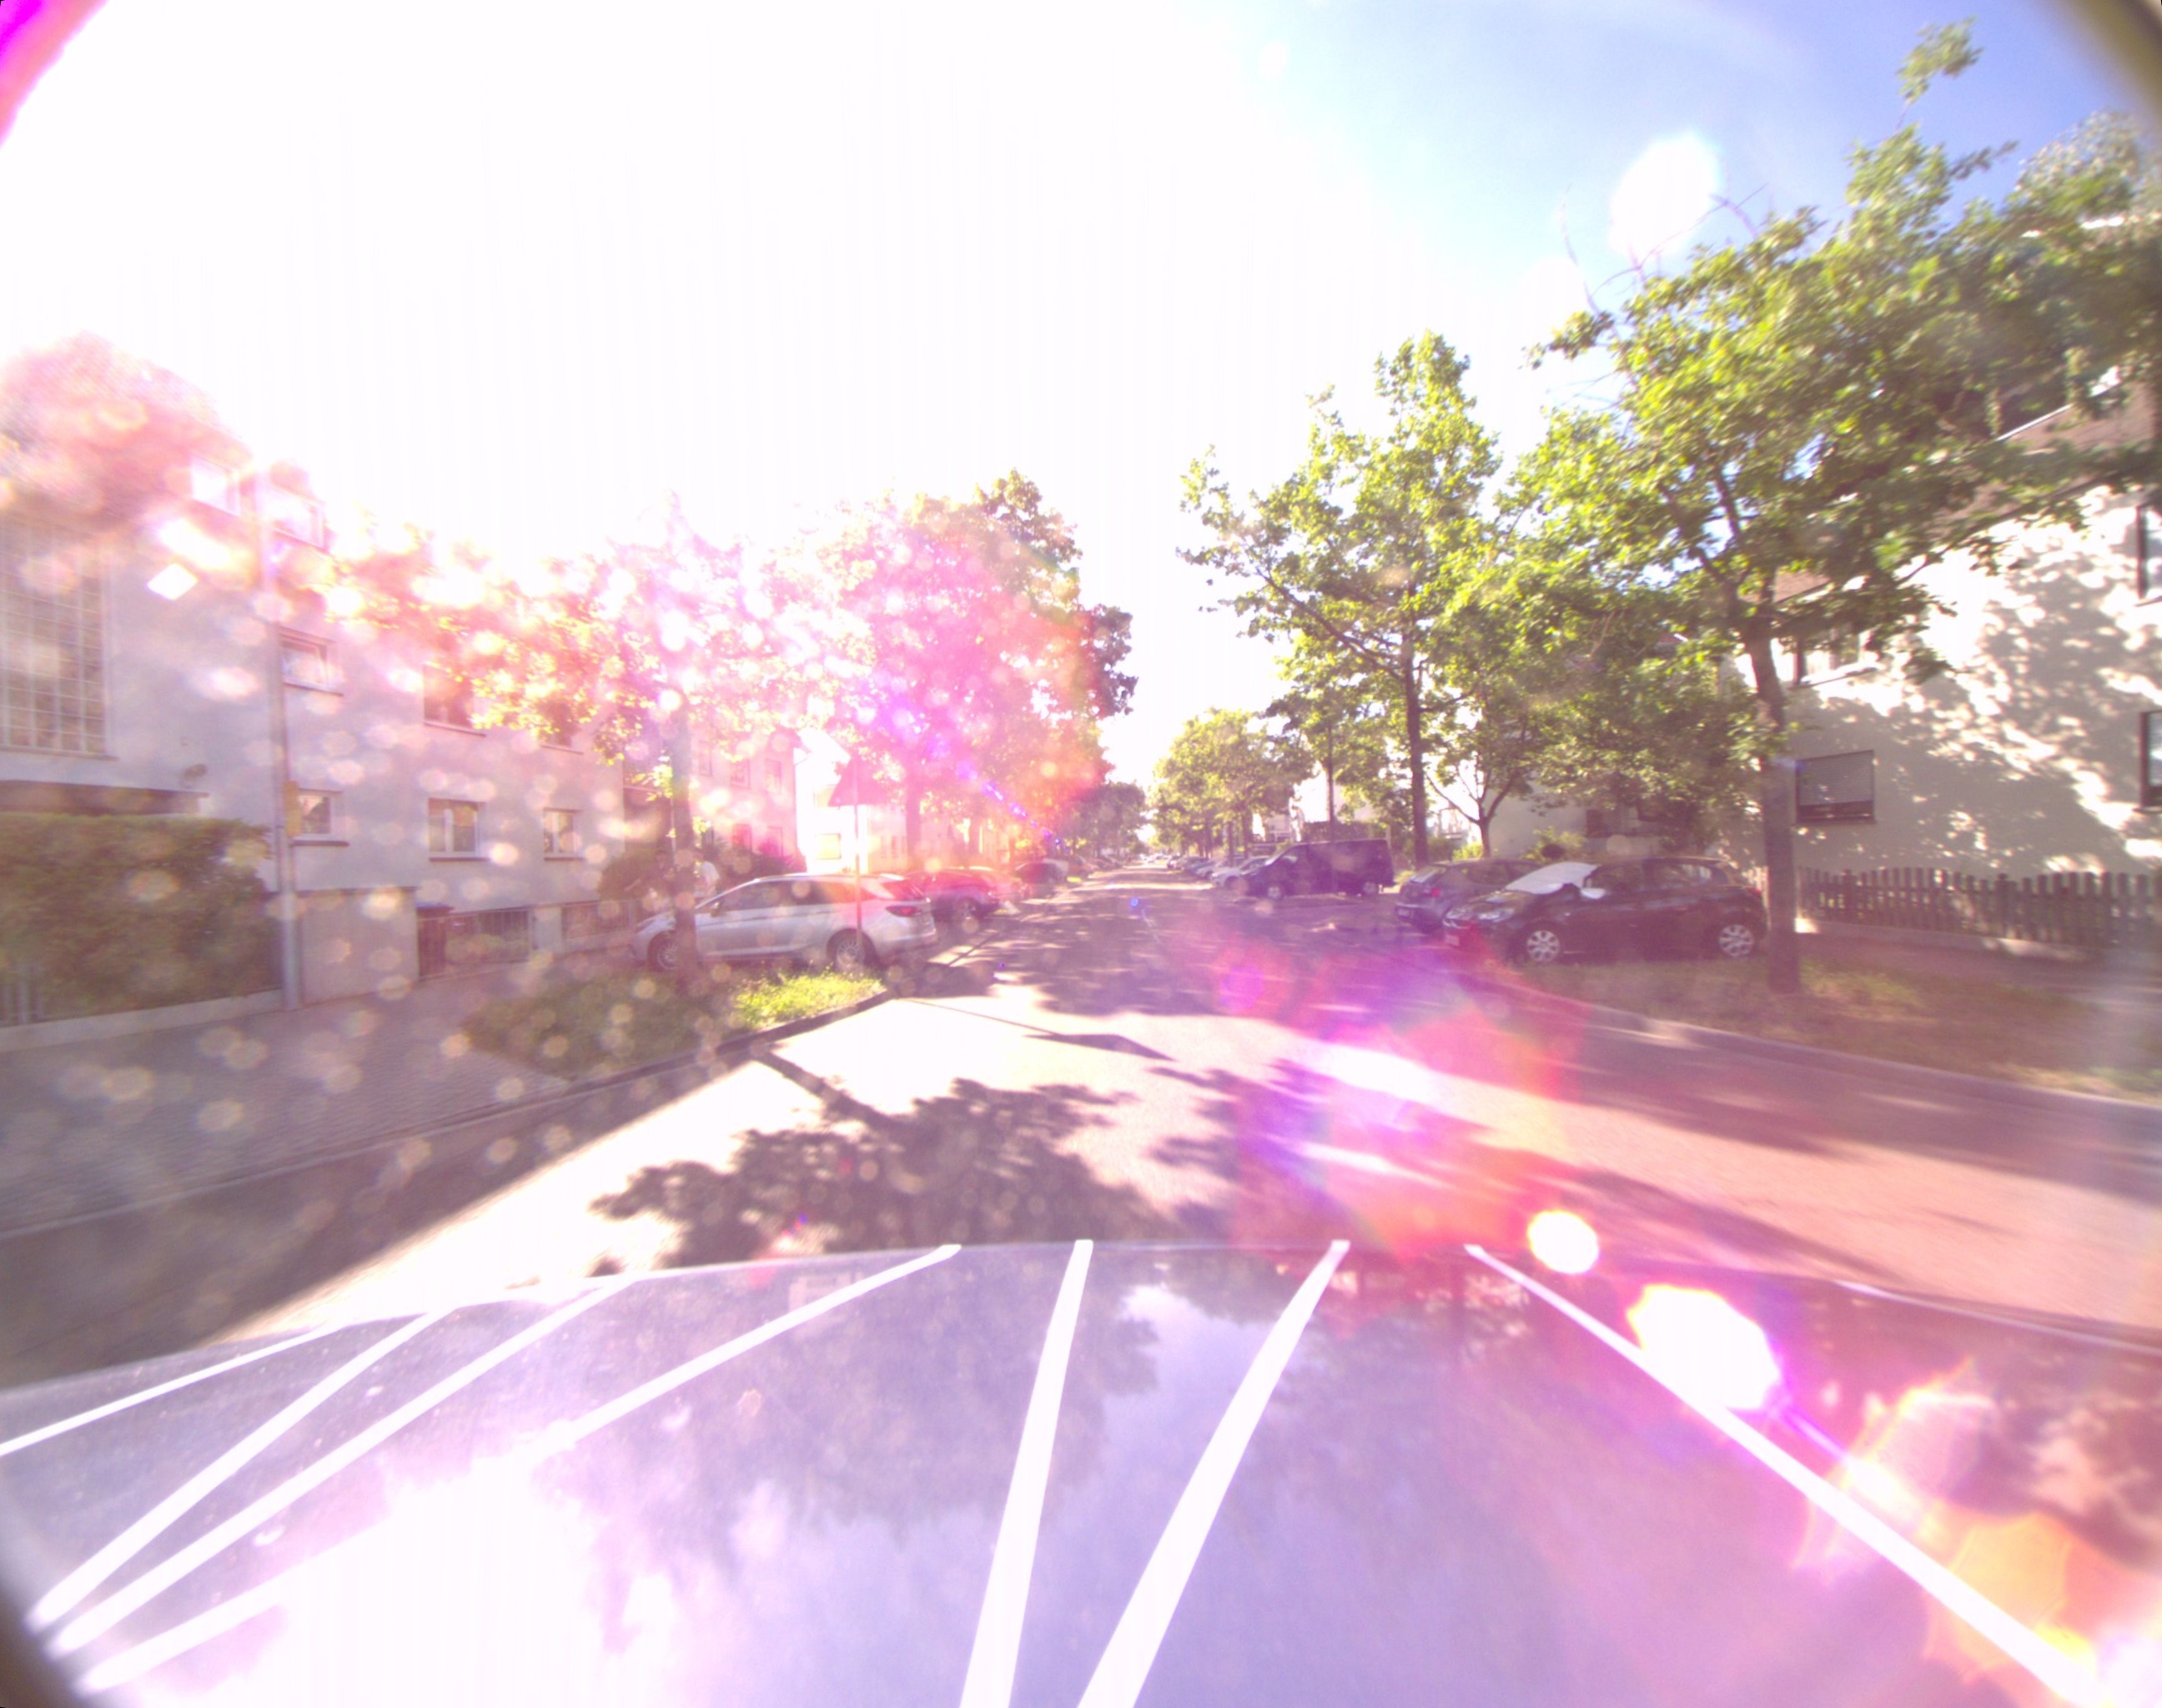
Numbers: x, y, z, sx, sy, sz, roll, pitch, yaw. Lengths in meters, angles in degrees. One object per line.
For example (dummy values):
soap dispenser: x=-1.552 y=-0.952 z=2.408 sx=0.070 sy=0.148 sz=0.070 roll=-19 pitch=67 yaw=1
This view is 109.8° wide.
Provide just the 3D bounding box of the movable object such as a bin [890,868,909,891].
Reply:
movable object such as a bin: x=-9.116 y=1.269 z=38.209 sx=0.704 sy=1.105 sz=0.906 roll=-1 pitch=1 yaw=3

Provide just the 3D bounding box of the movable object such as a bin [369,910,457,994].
movable object such as a bin: x=-9.058 y=1.312 z=10.329 sx=0.535 sy=1.039 sz=0.700 roll=-1 pitch=1 yaw=2

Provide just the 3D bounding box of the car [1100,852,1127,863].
car: x=5.279 y=0.544 z=122.382 sx=4.220 sy=1.771 sz=1.790 roll=0 pitch=1 yaw=7

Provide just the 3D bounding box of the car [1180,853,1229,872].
car: x=10.950 y=0.708 z=67.313 sx=4.043 sy=1.415 sz=1.810 roll=-4 pitch=0 yaw=3

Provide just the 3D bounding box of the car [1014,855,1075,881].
car: x=-2.460 y=0.964 z=52.147 sx=3.997 sy=1.614 sz=1.757 roll=-1 pitch=1 yaw=1

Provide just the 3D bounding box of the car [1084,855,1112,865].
car: x=2.441 y=0.863 z=109.560 sx=3.784 sy=1.476 sz=1.756 roll=0 pitch=2 yaw=7

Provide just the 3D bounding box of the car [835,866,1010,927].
car: x=-4.212 y=1.124 z=20.623 sx=4.286 sy=1.494 sz=1.797 roll=-1 pitch=0 yaw=4

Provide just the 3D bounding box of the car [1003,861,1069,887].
car: x=-2.752 y=1.223 z=47.018 sx=3.890 sy=1.507 sz=1.661 roll=-1 pitch=1 yaw=5

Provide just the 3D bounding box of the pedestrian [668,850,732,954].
pedestrian: x=-7.107 y=0.874 z=14.209 sx=0.609 sy=1.862 sz=0.924 roll=-1 pitch=1 yaw=6

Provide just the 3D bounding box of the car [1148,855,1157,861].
car: x=17.762 y=1.022 z=187.495 sx=1.943 sy=1.412 sz=4.003 roll=-1 pitch=0 yaw=9

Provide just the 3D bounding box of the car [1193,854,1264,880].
car: x=9.327 y=0.803 z=48.202 sx=4.191 sy=1.483 sz=1.647 roll=-2 pitch=0 yaw=4

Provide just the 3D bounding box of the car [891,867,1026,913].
car: x=-4.051 y=1.194 z=25.679 sx=4.288 sy=1.406 sz=1.796 roll=-1 pitch=0 yaw=-2

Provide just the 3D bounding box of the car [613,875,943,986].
car: x=-4.556 y=1.138 z=11.935 sx=4.440 sy=1.483 sz=1.796 roll=-1 pitch=0 yaw=-1

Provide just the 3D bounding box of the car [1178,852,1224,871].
car: x=11.443 y=0.683 z=72.575 sx=4.196 sy=1.558 sz=1.793 roll=-3 pitch=0 yaw=6

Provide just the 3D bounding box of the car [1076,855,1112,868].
car: x=1.692 y=0.932 z=97.463 sx=4.583 sy=1.637 sz=1.839 roll=0 pitch=0 yaw=5

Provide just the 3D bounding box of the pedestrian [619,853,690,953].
pedestrian: x=-8.042 y=0.901 z=14.354 sx=0.837 sy=1.817 sz=0.710 roll=-1 pitch=2 yaw=4

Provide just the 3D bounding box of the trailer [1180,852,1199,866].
trailer: x=12.904 y=0.609 z=90.373 sx=2.240 sy=1.664 sz=1.475 roll=-2 pitch=0 yaw=9

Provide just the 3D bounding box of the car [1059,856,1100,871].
car: x=-0.139 y=1.029 z=82.426 sx=4.347 sy=1.551 sz=1.868 roll=0 pitch=0 yaw=4

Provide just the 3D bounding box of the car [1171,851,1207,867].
car: x=13.530 y=0.651 z=95.495 sx=4.246 sy=1.933 sz=2.000 roll=-1 pitch=0 yaw=3

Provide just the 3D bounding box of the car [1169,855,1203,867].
car: x=14.542 y=0.995 z=105.411 sx=4.487 sy=1.491 sz=1.837 roll=-1 pitch=0 yaw=3

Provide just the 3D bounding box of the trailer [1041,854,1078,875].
trailer: x=-1.703 y=0.862 z=61.796 sx=2.953 sy=1.654 sz=1.614 roll=0 pitch=1 yaw=-1

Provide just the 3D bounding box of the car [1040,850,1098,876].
car: x=-1.037 y=0.780 z=66.404 sx=4.829 sy=2.071 sz=2.087 roll=-1 pitch=0 yaw=5

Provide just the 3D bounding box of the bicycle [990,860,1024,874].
bicycle: x=-6.540 y=1.146 z=67.147 sx=2.864 sy=1.230 sz=0.468 roll=0 pitch=1 yaw=5

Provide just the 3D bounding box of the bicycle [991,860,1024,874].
bicycle: x=-6.540 y=1.144 z=67.645 sx=2.864 sy=1.230 sz=0.468 roll=0 pitch=2 yaw=5

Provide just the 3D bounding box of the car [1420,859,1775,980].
car: x=7.220 y=0.884 z=10.963 sx=3.866 sy=1.450 sz=1.714 roll=-3 pitch=0 yaw=4

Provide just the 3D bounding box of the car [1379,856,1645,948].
car: x=7.770 y=0.837 z=13.979 sx=3.828 sy=1.411 sz=1.772 roll=-3 pitch=0 yaw=2

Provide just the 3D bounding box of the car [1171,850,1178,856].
car: x=26.779 y=-0.346 z=216.787 sx=1.740 sy=1.532 sz=3.950 roll=-1 pitch=0 yaw=11

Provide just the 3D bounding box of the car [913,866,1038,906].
car: x=-3.906 y=1.175 z=28.631 sx=4.355 sy=1.355 sz=1.874 roll=-1 pitch=1 yaw=4

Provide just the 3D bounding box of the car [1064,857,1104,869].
car: x=0.384 y=1.064 z=87.803 sx=4.436 sy=1.323 sz=1.691 roll=0 pitch=0 yaw=7

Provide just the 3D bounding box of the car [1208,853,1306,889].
car: x=8.332 y=0.793 z=36.267 sx=4.285 sy=1.469 sz=1.769 roll=-3 pitch=0 yaw=4

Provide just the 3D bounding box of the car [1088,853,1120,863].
car: x=3.472 y=0.646 z=114.271 sx=4.511 sy=1.437 sz=1.839 roll=0 pitch=0 yaw=7

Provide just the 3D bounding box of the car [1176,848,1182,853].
car: x=31.145 y=-1.195 z=240.943 sx=1.877 sy=1.470 sz=3.852 roll=-1 pitch=1 yaw=9

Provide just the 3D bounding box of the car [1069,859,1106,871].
car: x=0.823 y=1.378 z=94.003 sx=4.329 sy=1.521 sz=1.841 roll=0 pitch=0 yaw=5

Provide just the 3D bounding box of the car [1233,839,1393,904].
car: x=7.771 y=0.590 z=25.864 sx=4.790 sy=1.905 sz=2.019 roll=-3 pitch=0 yaw=2

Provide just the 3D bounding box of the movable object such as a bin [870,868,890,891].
movable object such as a bin: x=-10.098 y=1.266 z=38.179 sx=0.704 sy=1.092 sz=0.906 roll=-1 pitch=1 yaw=3

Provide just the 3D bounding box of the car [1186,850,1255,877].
car: x=9.699 y=0.658 z=53.048 sx=4.533 sy=1.621 sz=1.938 roll=-3 pitch=0 yaw=6
